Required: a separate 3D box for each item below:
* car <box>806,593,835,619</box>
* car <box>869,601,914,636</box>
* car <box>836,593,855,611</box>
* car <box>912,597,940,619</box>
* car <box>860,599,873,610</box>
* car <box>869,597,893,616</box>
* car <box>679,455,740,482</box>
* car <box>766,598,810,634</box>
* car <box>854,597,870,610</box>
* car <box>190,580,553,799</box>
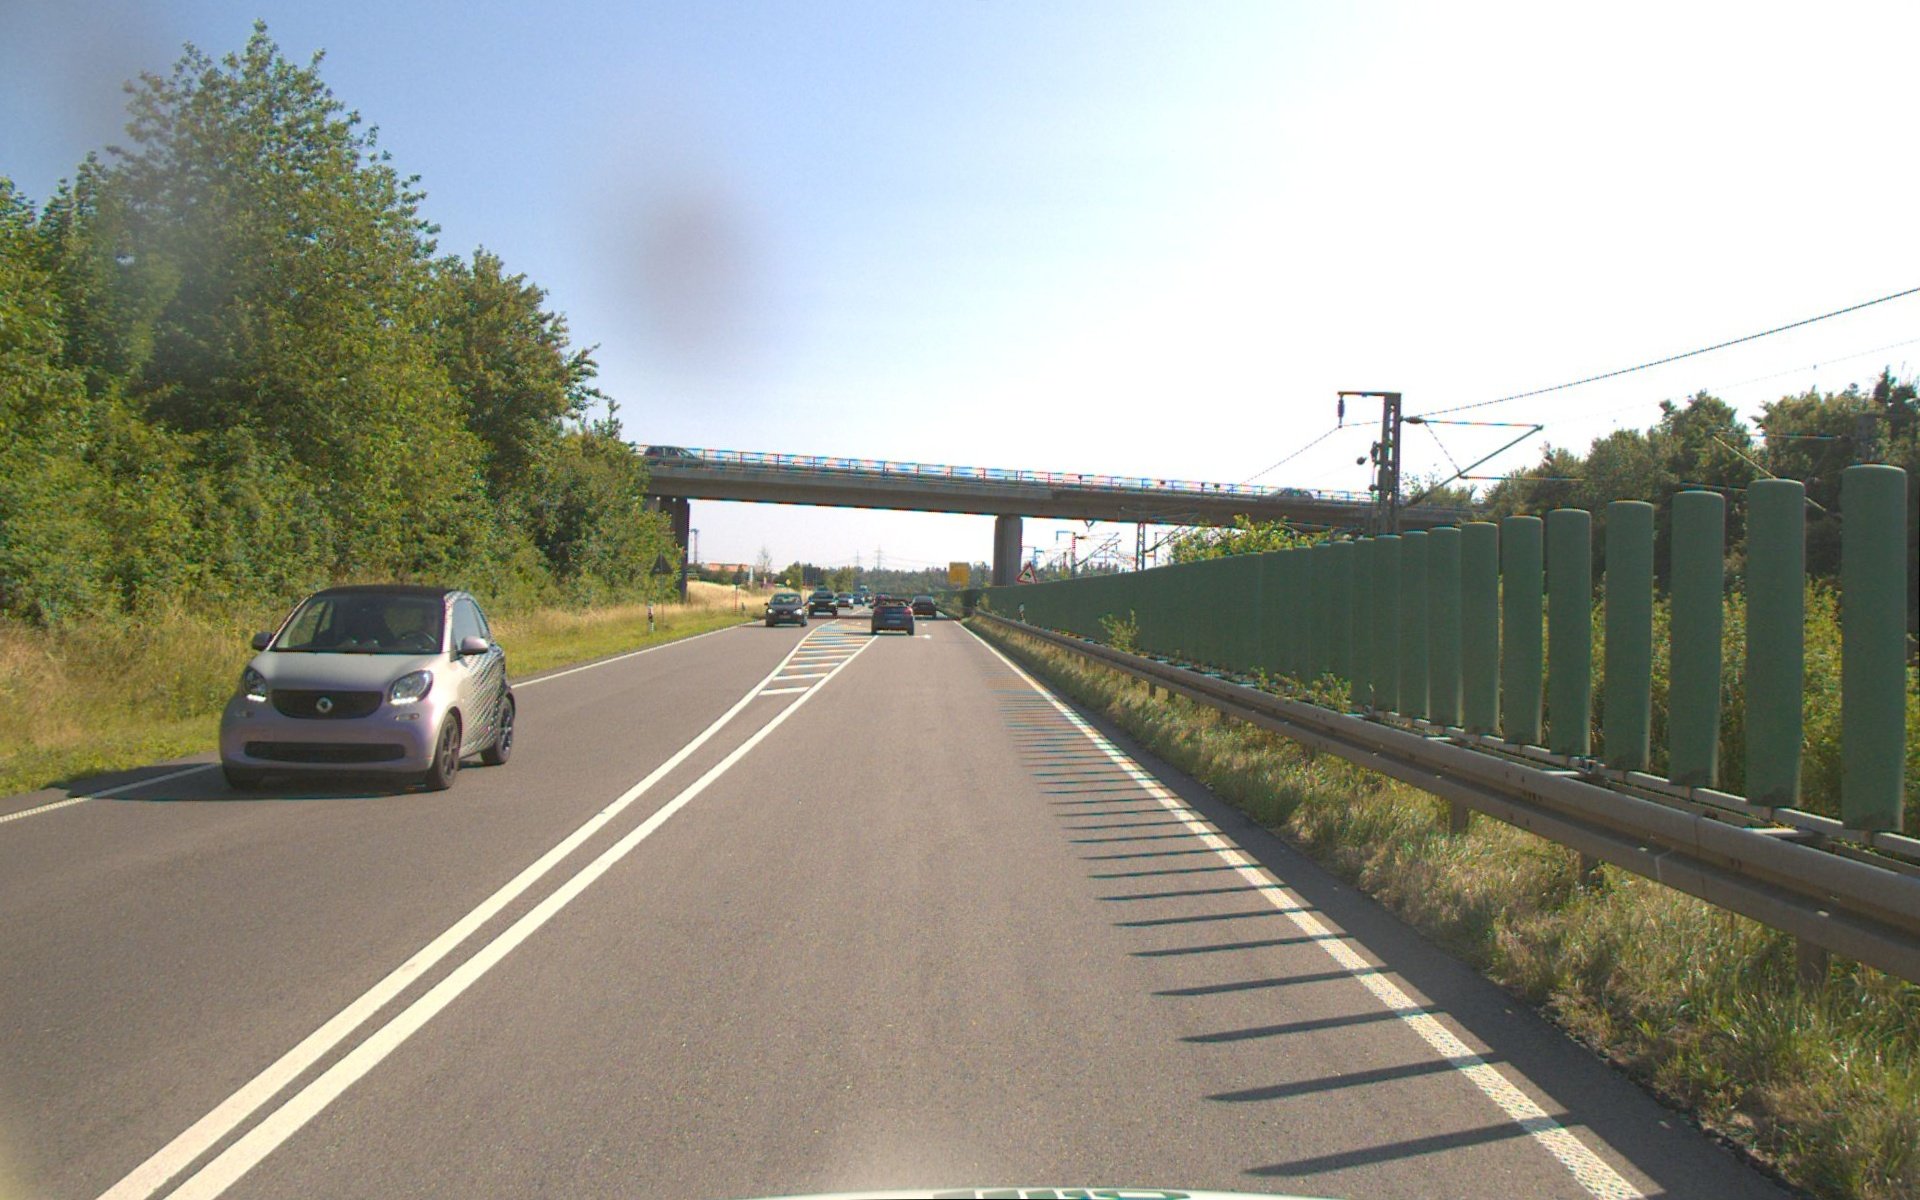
[{"bbox_3d":[-9.590,0.369,113.955,1.884,1.620,4.426,4,0,-4],"label":"car"},{"bbox_3d":[-2.620,0.704,63.766,1.630,1.283,3.999,1,0,-1],"label":"car"},{"bbox_3d":[-11.354,0.200,163.959,1.809,1.659,3.998,1,0,-3],"label":"car"},{"bbox_3d":[-2.369,0.556,114.849,1.856,1.443,3.999,1,0,-1],"label":"car"},{"bbox_3d":[-14.279,0.760,253.853,1.856,1.659,3.999,1,0,-1],"label":"car"},{"bbox_3d":[-6.409,0.523,134.498,1.856,1.443,3.999,1,0,-1],"label":"car"},{"bbox_3d":[-15.056,-7.901,99.345,3.322,1.342,1.568,1,0,-24],"label":"car"},{"bbox_3d":[-7.674,0.696,74.078,1.715,1.507,3.997,1,0,-3],"label":"car"},{"bbox_3d":[-12.279,0.446,207.159,1.856,1.659,3.999,1,0,-1],"label":"car"},{"bbox_3d":[-4.754,0.638,14.002,1.819,1.587,3.998,0,0,-3],"label":"car"}]
